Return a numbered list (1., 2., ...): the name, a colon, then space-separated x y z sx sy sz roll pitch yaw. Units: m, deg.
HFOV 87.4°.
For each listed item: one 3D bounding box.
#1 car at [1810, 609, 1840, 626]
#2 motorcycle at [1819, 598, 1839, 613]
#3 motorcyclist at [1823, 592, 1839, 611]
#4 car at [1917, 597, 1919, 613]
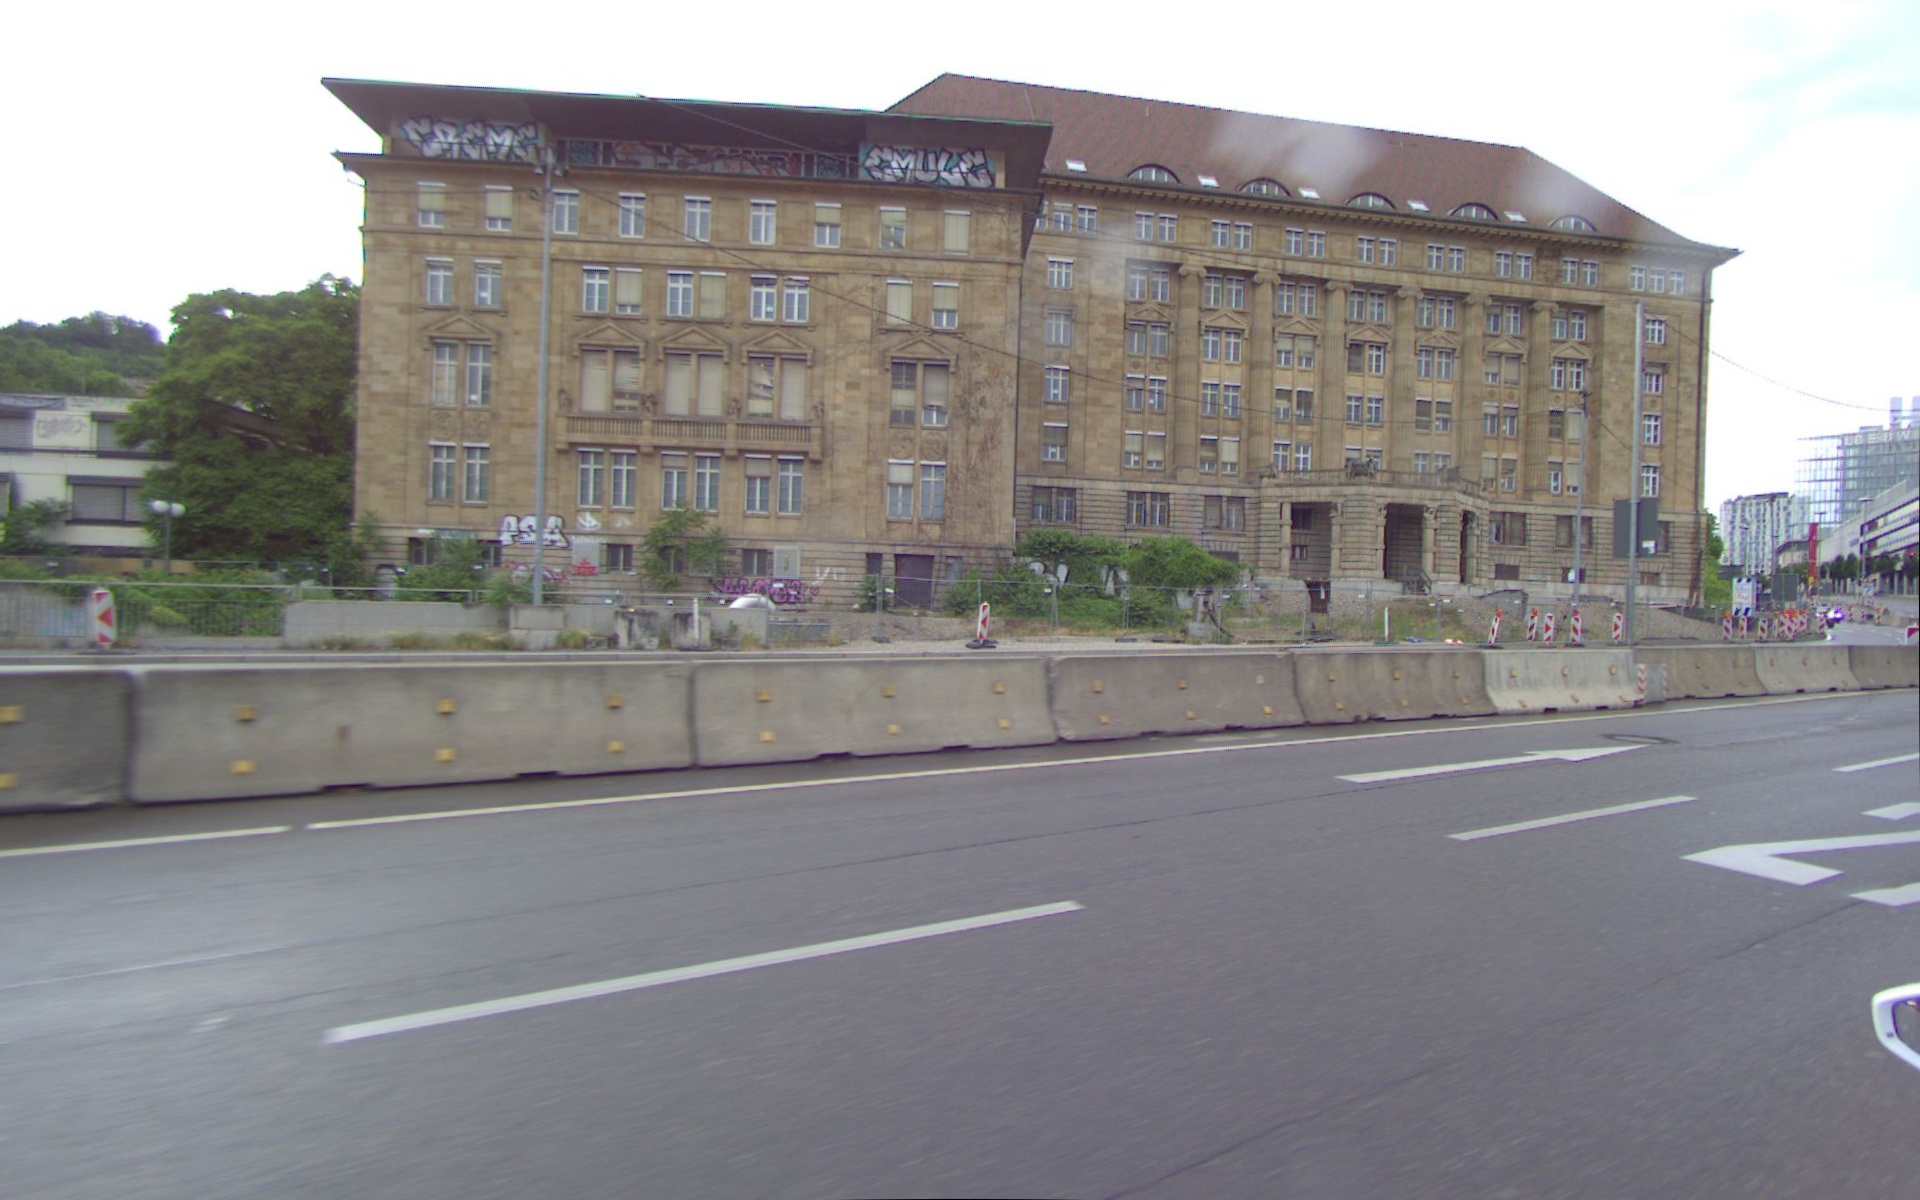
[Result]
1. car: 80.912 1.626 94.016 1.579 1.370 3.745 2 -2 33
2. motorcycle: 66.653 0.434 77.040 0.857 1.164 2.148 1 0 33
3. motorcyclist: 66.693 0.126 76.938 0.787 1.470 0.823 1 0 33
4. car: 114.108 0.572 118.240 1.973 1.828 4.239 2 1 44
